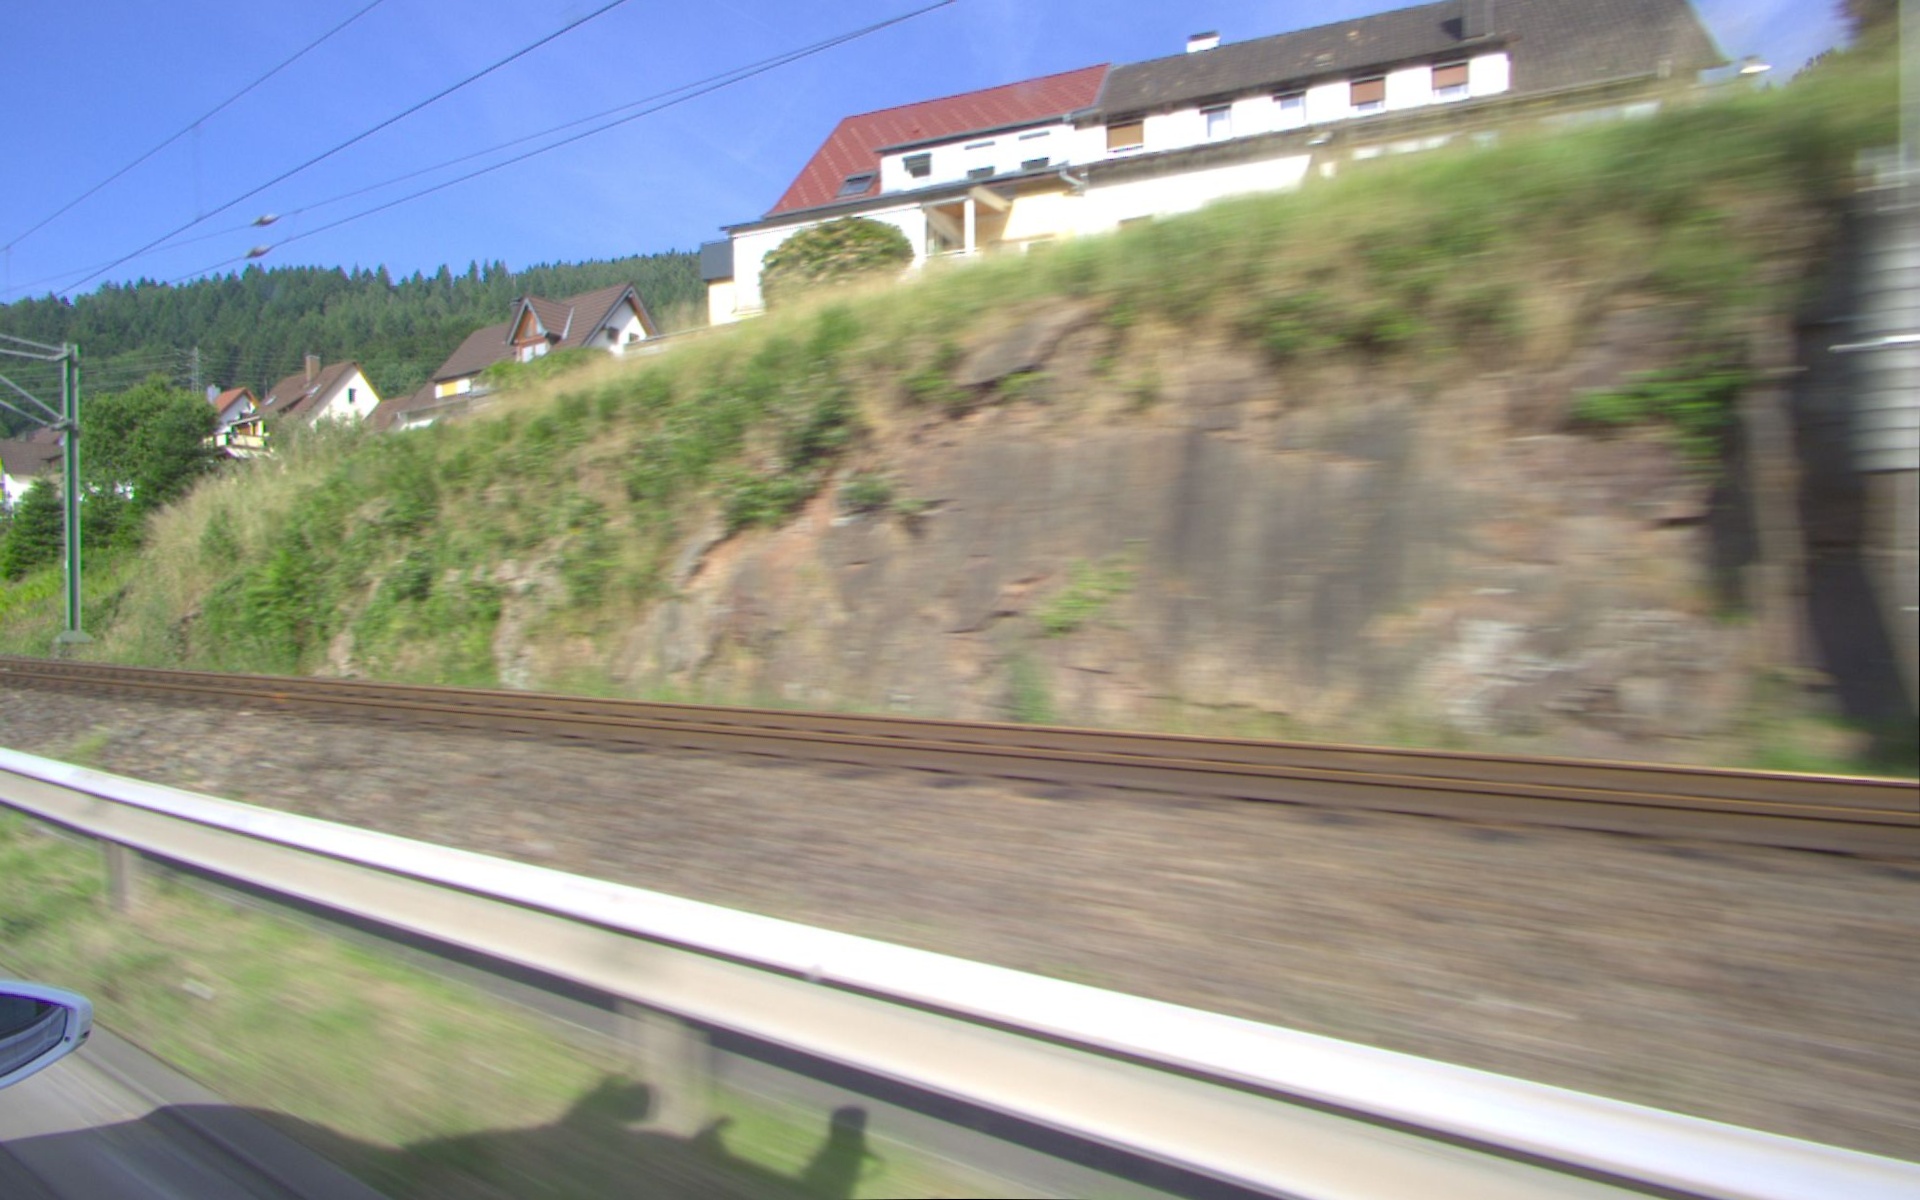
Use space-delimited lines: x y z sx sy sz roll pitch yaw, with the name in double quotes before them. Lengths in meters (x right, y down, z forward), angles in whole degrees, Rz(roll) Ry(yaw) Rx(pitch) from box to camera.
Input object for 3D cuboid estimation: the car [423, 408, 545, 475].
"car" -17.067 -5.644 36.069 1.725 1.559 3.740 -2 -3 27
